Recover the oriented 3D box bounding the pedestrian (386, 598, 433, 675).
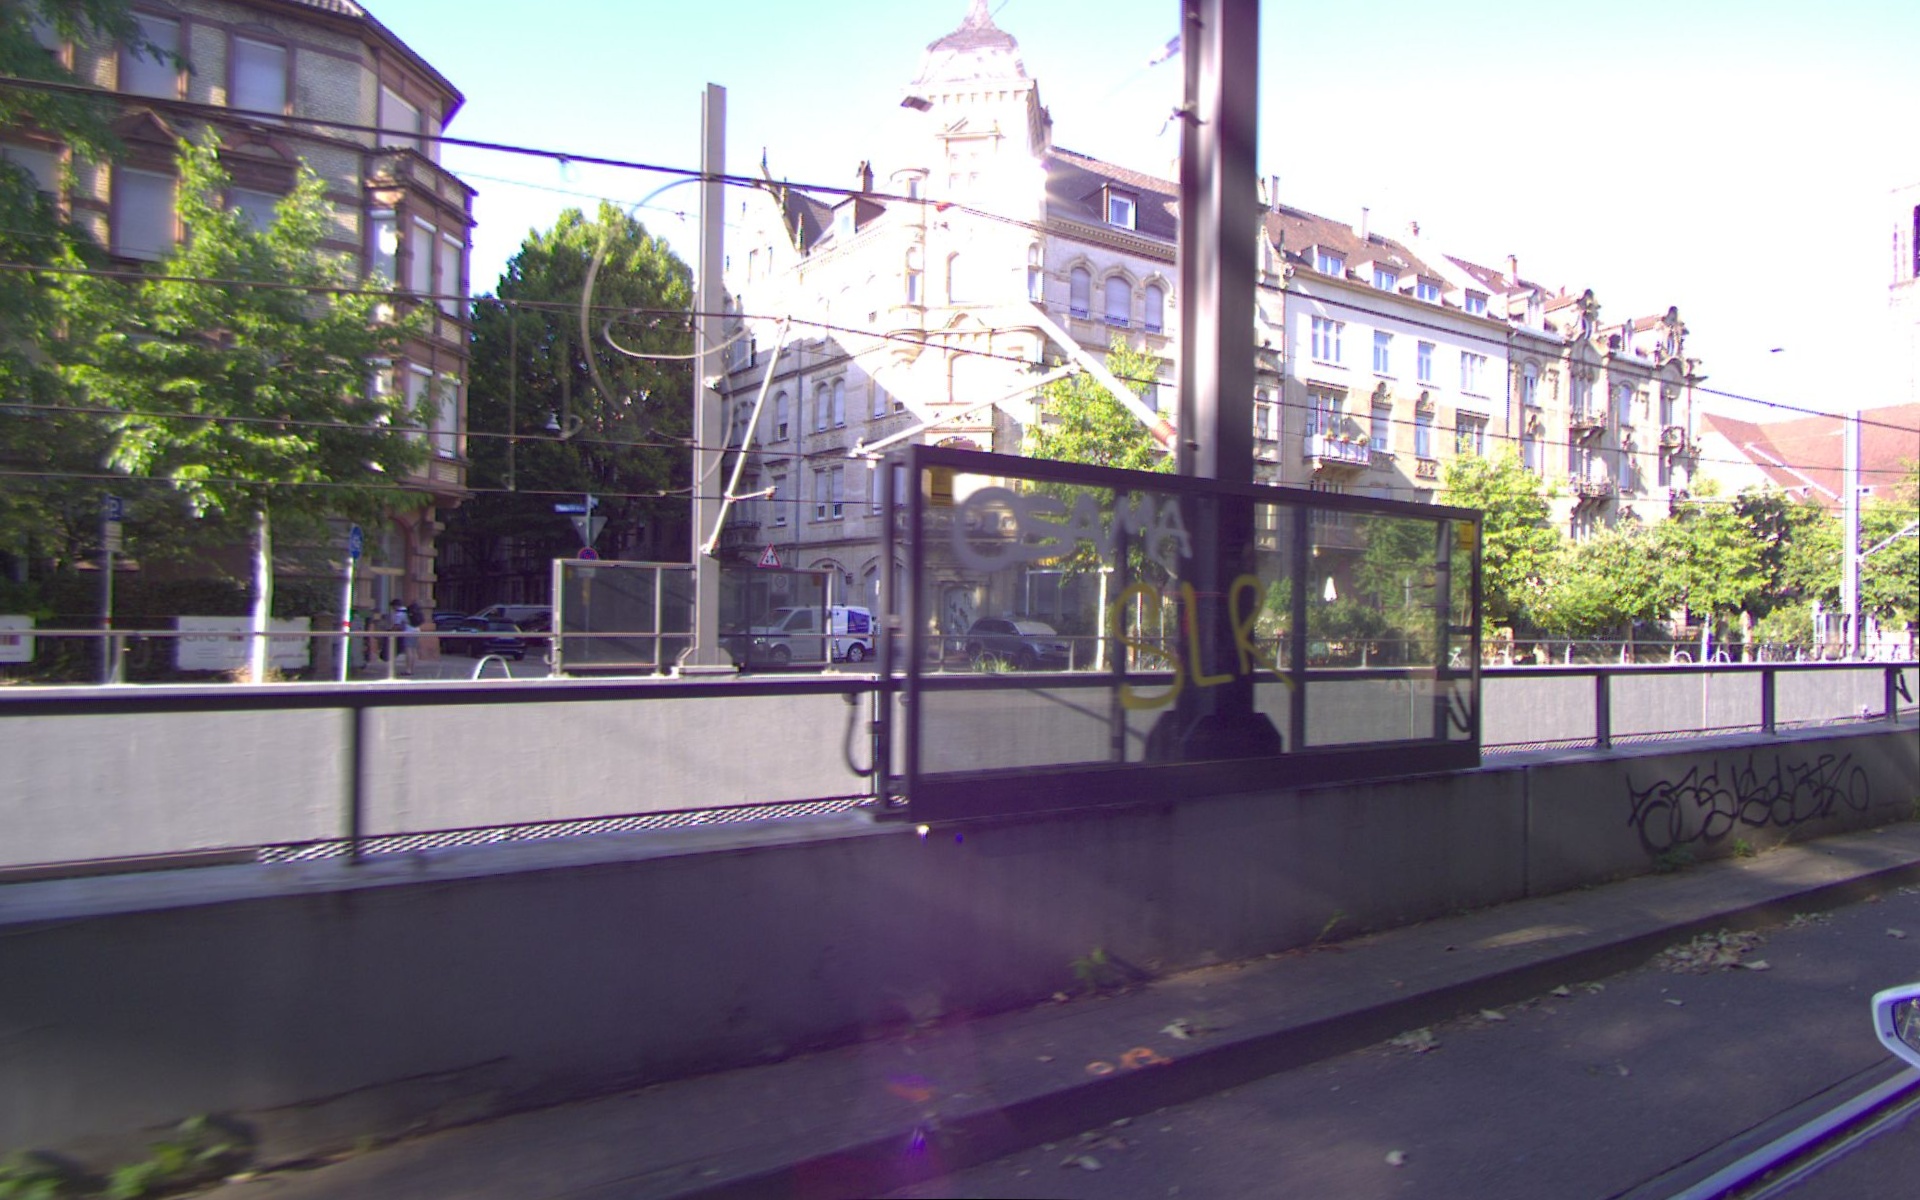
[{"bbox_3d":[-12.681,0.832,23.159,0.852,1.711,0.717,2,2,-24],"label":"pedestrian"}]

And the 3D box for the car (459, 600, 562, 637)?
[{"bbox_3d":[-24.818,1.039,55.565,4.861,1.871,1.851,1,2,-42],"label":"car"}]

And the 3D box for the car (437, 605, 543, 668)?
[{"bbox_3d":[-16.597,1.225,35.365,1.987,1.874,4.386,1,2,-45],"label":"car"}]

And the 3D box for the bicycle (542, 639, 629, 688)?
[{"bbox_3d":[-8.380,1.431,22.570,0.447,1.018,1.941,3,-2,29],"label":"bicycle"}]

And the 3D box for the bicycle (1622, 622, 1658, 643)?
[{"bbox_3d":[34.888,1.671,51.554,2.083,1.032,0.503,2,2,-26],"label":"bicycle"}]

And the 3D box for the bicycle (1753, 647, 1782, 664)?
[{"bbox_3d":[41.115,2.833,51.153,1.863,0.811,0.415,2,2,-27],"label":"bicycle"}]

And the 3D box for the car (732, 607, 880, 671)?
[{"bbox_3d":[-5.044,1.239,33.233,4.446,1.874,1.976,1,2,-42],"label":"car"}]

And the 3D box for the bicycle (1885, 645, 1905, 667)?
[{"bbox_3d":[47.641,2.829,51.168,0.479,1.036,1.886,3,2,36],"label":"bicycle"}]

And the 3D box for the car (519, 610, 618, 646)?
[{"bbox_3d":[-19.202,1.356,49.354,4.181,1.627,1.851,1,2,-42],"label":"car"}]

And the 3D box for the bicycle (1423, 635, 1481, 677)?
[{"bbox_3d":[16.069,1.826,32.866,0.591,1.296,1.727,2,-1,-23],"label":"bicycle"}]

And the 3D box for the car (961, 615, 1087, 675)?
[{"bbox_3d":[1.971,1.361,31.884,1.809,1.646,3.956,1,0,-38],"label":"car"}]
